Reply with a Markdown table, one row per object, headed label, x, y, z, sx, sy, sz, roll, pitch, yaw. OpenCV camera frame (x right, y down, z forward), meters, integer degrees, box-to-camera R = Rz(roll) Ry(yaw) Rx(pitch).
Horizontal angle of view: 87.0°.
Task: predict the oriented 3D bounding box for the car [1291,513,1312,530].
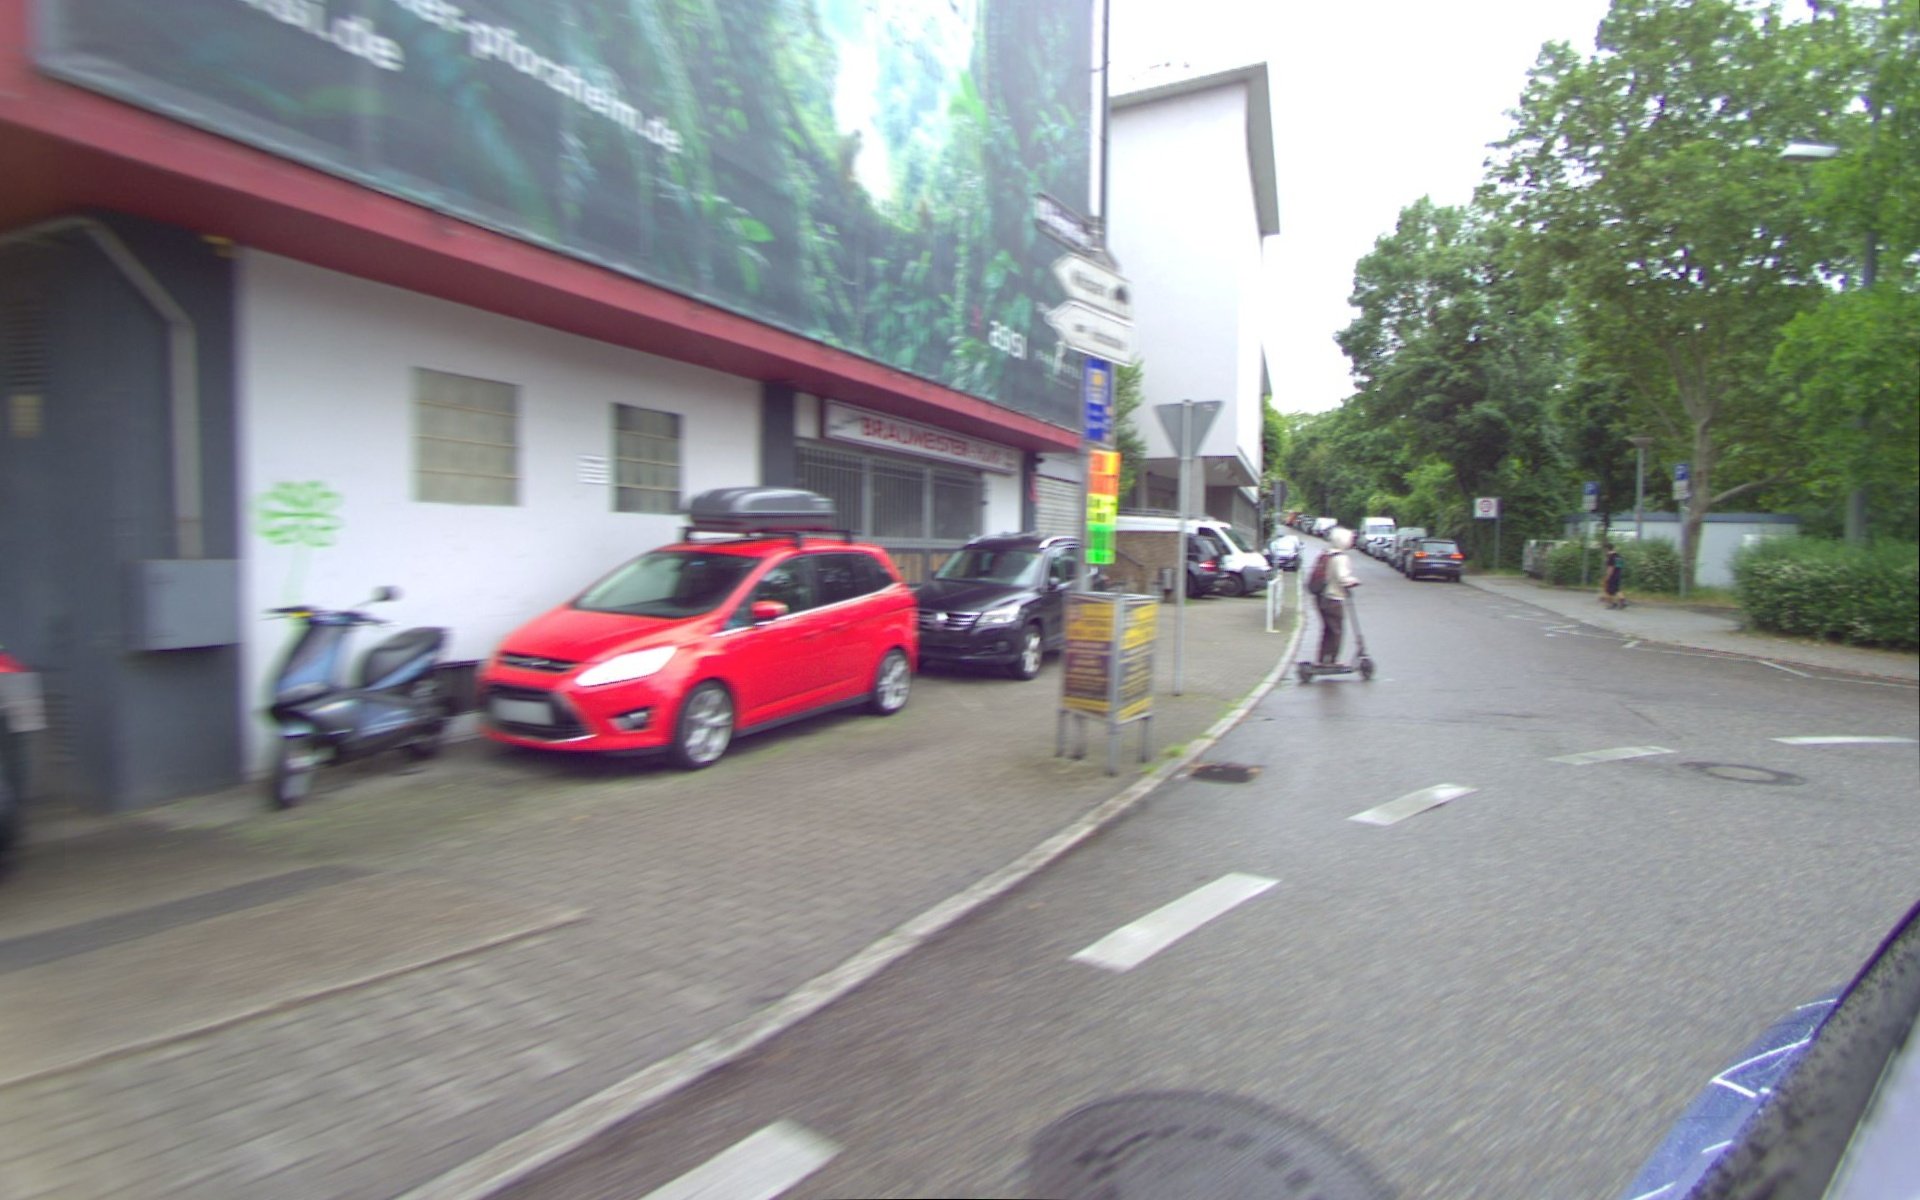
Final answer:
| label | x | y | z | sx | sy | sz | roll | pitch | yaw |
| --- | --- | --- | --- | --- | --- | --- | --- | --- | --- |
| car | 40.238 | -9.241 | 119.304 | 1.880 | 1.964 | 3.988 | 1 | 4 | 12 |

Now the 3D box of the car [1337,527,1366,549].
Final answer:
| label | x | y | z | sx | sy | sz | roll | pitch | yaw |
| --- | --- | --- | --- | --- | --- | --- | --- | --- | --- |
| car | 34.824 | -5.540 | 90.129 | 1.881 | 1.964 | 3.985 | 1 | 4 | 14 |

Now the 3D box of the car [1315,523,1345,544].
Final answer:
| label | x | y | z | sx | sy | sz | roll | pitch | yaw |
| --- | --- | --- | --- | --- | --- | --- | --- | --- | --- |
| car | 35.137 | -6.295 | 96.124 | 1.878 | 1.964 | 3.992 | 1 | 4 | 9 |

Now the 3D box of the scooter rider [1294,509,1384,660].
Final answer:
| label | x | y | z | sx | sy | sz | roll | pitch | yaw |
| --- | --- | --- | --- | --- | --- | --- | --- | --- | --- |
| scooter rider | 4.797 | -0.226 | 12.863 | 0.766 | 1.842 | 0.806 | -1 | 4 | -7 |

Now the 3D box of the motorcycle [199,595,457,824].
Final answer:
| label | x | y | z | sx | sy | sz | roll | pitch | yaw |
| --- | --- | --- | --- | --- | --- | --- | --- | --- | --- |
| motorcycle | -3.766 | 0.585 | 6.164 | 0.445 | 1.175 | 1.418 | 0 | 2 | 13 |

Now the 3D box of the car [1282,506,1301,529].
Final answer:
| label | x | y | z | sx | sy | sz | roll | pitch | yaw |
| --- | --- | --- | --- | --- | --- | --- | --- | --- | --- |
| car | 41.772 | -10.374 | 127.583 | 1.880 | 2.823 | 3.988 | 1 | 4 | 12 |

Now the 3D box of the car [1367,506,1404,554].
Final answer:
| label | x | y | z | sx | sy | sz | roll | pitch | yaw |
| --- | --- | --- | --- | --- | --- | --- | --- | --- | --- |
| car | 30.534 | -5.019 | 72.709 | 2.197 | 3.321 | 5.047 | 2 | 4 | 21 |

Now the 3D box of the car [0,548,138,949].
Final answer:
| label | x | y | z | sx | sy | sz | roll | pitch | yaw |
| --- | --- | --- | --- | --- | --- | --- | --- | --- | --- |
| car | -5.780 | 0.495 | 4.367 | 3.949 | 1.551 | 1.861 | 4 | 3 | 23 |

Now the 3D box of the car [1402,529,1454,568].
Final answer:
| label | x | y | z | sx | sy | sz | roll | pitch | yaw |
| --- | --- | --- | --- | --- | --- | --- | --- | --- | --- |
| car | 21.431 | -2.398 | 46.462 | 1.886 | 1.670 | 3.974 | 2 | 4 | 21 |

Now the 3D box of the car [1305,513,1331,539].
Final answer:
| label | x | y | z | sx | sy | sz | roll | pitch | yaw |
| --- | --- | --- | --- | --- | --- | --- | --- | --- | --- |
| car | 38.377 | -7.935 | 108.664 | 1.761 | 2.660 | 3.995 | 1 | 4 | 7 |

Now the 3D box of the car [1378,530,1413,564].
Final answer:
| label | x | y | z | sx | sy | sz | roll | pitch | yaw |
| --- | --- | --- | --- | --- | --- | --- | --- | --- | --- |
| car | 27.919 | -3.432 | 64.983 | 1.886 | 2.059 | 3.974 | 2 | 4 | 21 |

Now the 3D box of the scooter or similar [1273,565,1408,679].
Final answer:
| label | x | y | z | sx | sy | sz | roll | pitch | yaw |
| --- | --- | --- | --- | --- | --- | --- | --- | --- | --- |
| scooter or similar | 4.828 | 0.255 | 12.901 | 1.380 | 1.338 | 0.806 | -1 | 4 | -7 |

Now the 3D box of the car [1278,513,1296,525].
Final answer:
| label | x | y | z | sx | sy | sz | roll | pitch | yaw |
| --- | --- | --- | --- | --- | --- | --- | --- | --- | --- |
| car | 43.422 | -10.730 | 134.321 | 1.772 | 1.528 | 3.989 | 1 | 4 | 11 |

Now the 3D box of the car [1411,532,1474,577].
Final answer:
| label | x | y | z | sx | sy | sz | roll | pitch | yaw |
| --- | --- | --- | --- | --- | --- | --- | --- | --- | --- |
| car | 19.045 | -1.858 | 40.077 | 1.886 | 1.670 | 3.974 | 2 | 4 | 21 |

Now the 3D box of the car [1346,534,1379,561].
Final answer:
| label | x | y | z | sx | sy | sz | roll | pitch | yaw |
| --- | --- | --- | --- | --- | --- | --- | --- | --- | --- |
| car | 32.394 | -4.260 | 81.568 | 1.881 | 2.059 | 3.985 | 1 | 4 | 14 |

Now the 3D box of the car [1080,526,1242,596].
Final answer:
| label | x | y | z | sx | sy | sz | roll | pitch | yaw |
| --- | --- | --- | --- | --- | --- | --- | --- | --- | --- |
| car | 5.515 | -1.135 | 27.886 | 3.967 | 1.712 | 1.865 | 4 | 5 | 30 |

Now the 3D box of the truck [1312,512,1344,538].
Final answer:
| label | x | y | z | sx | sy | sz | roll | pitch | yaw |
| --- | --- | --- | --- | --- | --- | --- | --- | --- | --- |
| truck | 37.487 | -7.634 | 103.199 | 2.015 | 2.660 | 3.997 | 1 | 4 | 5 |

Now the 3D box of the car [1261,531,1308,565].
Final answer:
| label | x | y | z | sx | sy | sz | roll | pitch | yaw |
| --- | --- | --- | --- | --- | --- | --- | --- | --- | --- |
| car | 15.618 | -2.530 | 48.611 | 1.886 | 1.519 | 3.974 | 2 | 4 | 21 |

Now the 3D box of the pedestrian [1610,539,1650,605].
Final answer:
| label | x | y | z | sx | sy | sz | roll | pitch | yaw |
| --- | --- | --- | --- | --- | --- | --- | --- | --- | --- |
| pedestrian | 16.591 | -0.703 | 25.080 | 0.696 | 1.585 | 0.617 | 1 | 4 | 24 |

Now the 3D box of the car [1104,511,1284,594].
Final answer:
| label | x | y | z | sx | sy | sz | roll | pitch | yaw |
| --- | --- | --- | --- | --- | --- | --- | --- | --- | --- |
| car | 6.891 | -1.492 | 30.024 | 4.852 | 2.237 | 1.865 | 4 | 5 | 30 |

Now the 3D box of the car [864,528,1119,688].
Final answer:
| label | x | y | z | sx | sy | sz | roll | pitch | yaw |
| --- | --- | --- | --- | --- | --- | --- | --- | --- | --- |
| car | 0.580 | -0.068 | 13.396 | 1.914 | 1.731 | 3.967 | 3 | 5 | 26 |

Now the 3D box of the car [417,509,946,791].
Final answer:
| label | x | y | z | sx | sy | sz | roll | pitch | yaw |
| --- | --- | --- | --- | --- | --- | --- | --- | --- | --- |
| car | -1.968 | 0.193 | 8.635 | 1.913 | 1.732 | 4.453 | 2 | 3 | 26 |

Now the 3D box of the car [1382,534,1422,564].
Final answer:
| label | x | y | z | sx | sy | sz | roll | pitch | yaw |
| --- | --- | --- | --- | --- | --- | --- | --- | --- | --- |
| car | 25.769 | -3.000 | 59.101 | 1.886 | 1.670 | 3.974 | 2 | 4 | 21 |

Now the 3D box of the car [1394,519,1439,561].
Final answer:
| label | x | y | z | sx | sy | sz | roll | pitch | yaw |
| --- | --- | --- | --- | --- | --- | --- | --- | --- | --- |
| car | 23.761 | -3.161 | 52.803 | 1.886 | 2.100 | 3.974 | 2 | 4 | 21 |
